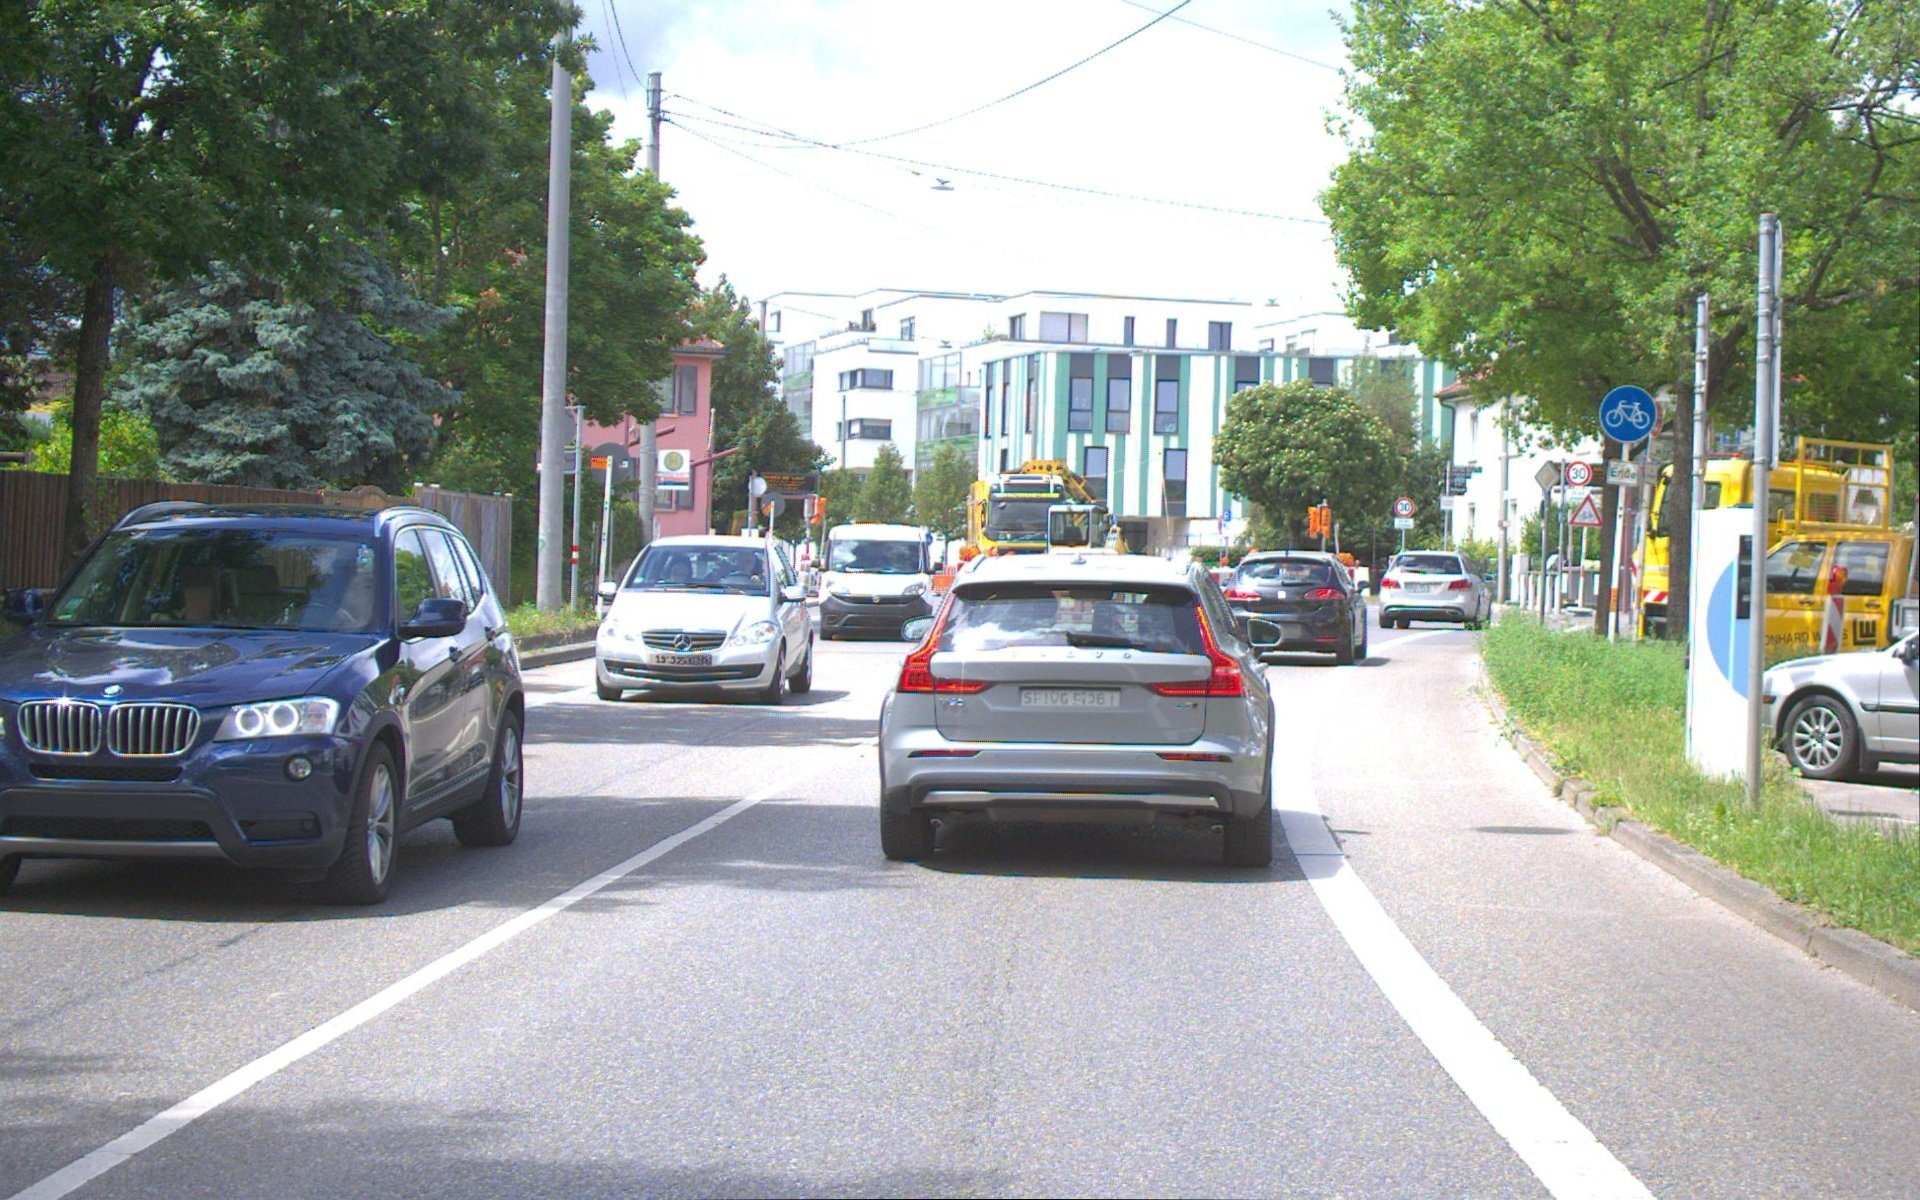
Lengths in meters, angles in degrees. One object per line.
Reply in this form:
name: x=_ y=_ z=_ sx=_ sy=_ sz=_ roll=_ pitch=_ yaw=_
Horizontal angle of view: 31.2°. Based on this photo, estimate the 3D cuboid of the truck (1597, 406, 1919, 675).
truck: x=11.161 y=-0.640 z=40.462 sx=2.762 sy=2.998 sz=6.704 roll=5 pitch=-1 yaw=-43

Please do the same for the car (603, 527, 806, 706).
car: x=-2.471 y=0.164 z=34.009 sx=1.708 sy=1.612 sz=4.000 roll=2 pitch=0 yaw=-1

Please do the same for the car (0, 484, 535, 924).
car: x=-3.200 y=0.375 z=15.353 sx=1.880 sy=1.681 sz=4.247 roll=0 pitch=1 yaw=3

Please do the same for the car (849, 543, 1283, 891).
car: x=0.614 y=0.497 z=17.326 sx=1.928 sy=1.535 sz=3.999 roll=0 pitch=1 yaw=4

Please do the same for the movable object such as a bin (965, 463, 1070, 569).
movable object such as a bin: x=1.649 y=-2.472 z=101.683 sx=2.310 sy=2.980 sz=6.428 roll=1 pitch=1 yaw=-6

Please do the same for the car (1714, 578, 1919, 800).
car: x=7.640 y=0.688 z=23.500 sx=1.763 sy=1.447 sz=4.688 roll=2 pitch=1 yaw=-41

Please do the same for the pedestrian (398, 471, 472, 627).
pedestrian: x=-6.928 y=-0.665 z=45.385 sx=0.715 sy=2.007 sz=0.771 roll=4 pitch=0 yaw=1

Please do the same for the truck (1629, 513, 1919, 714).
truck: x=10.218 y=0.210 z=37.144 sx=1.994 sy=2.007 sz=5.675 roll=5 pitch=0 yaw=-42

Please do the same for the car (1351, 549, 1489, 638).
car: x=8.707 y=-0.106 z=65.443 sx=2.102 sy=1.505 sz=4.000 roll=4 pitch=0 yaw=2

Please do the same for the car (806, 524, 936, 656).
car: x=-1.382 y=-0.143 z=54.648 sx=1.848 sy=1.869 sz=4.594 roll=4 pitch=0 yaw=-1

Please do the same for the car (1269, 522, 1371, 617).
car: x=8.564 y=-0.698 z=81.553 sx=1.994 sy=2.007 sz=3.998 roll=4 pitch=0 yaw=10

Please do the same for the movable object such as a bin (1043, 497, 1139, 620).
movable object such as a bin: x=2.991 y=-0.960 z=78.156 sx=2.035 sy=2.634 sz=5.939 roll=1 pitch=1 yaw=2
